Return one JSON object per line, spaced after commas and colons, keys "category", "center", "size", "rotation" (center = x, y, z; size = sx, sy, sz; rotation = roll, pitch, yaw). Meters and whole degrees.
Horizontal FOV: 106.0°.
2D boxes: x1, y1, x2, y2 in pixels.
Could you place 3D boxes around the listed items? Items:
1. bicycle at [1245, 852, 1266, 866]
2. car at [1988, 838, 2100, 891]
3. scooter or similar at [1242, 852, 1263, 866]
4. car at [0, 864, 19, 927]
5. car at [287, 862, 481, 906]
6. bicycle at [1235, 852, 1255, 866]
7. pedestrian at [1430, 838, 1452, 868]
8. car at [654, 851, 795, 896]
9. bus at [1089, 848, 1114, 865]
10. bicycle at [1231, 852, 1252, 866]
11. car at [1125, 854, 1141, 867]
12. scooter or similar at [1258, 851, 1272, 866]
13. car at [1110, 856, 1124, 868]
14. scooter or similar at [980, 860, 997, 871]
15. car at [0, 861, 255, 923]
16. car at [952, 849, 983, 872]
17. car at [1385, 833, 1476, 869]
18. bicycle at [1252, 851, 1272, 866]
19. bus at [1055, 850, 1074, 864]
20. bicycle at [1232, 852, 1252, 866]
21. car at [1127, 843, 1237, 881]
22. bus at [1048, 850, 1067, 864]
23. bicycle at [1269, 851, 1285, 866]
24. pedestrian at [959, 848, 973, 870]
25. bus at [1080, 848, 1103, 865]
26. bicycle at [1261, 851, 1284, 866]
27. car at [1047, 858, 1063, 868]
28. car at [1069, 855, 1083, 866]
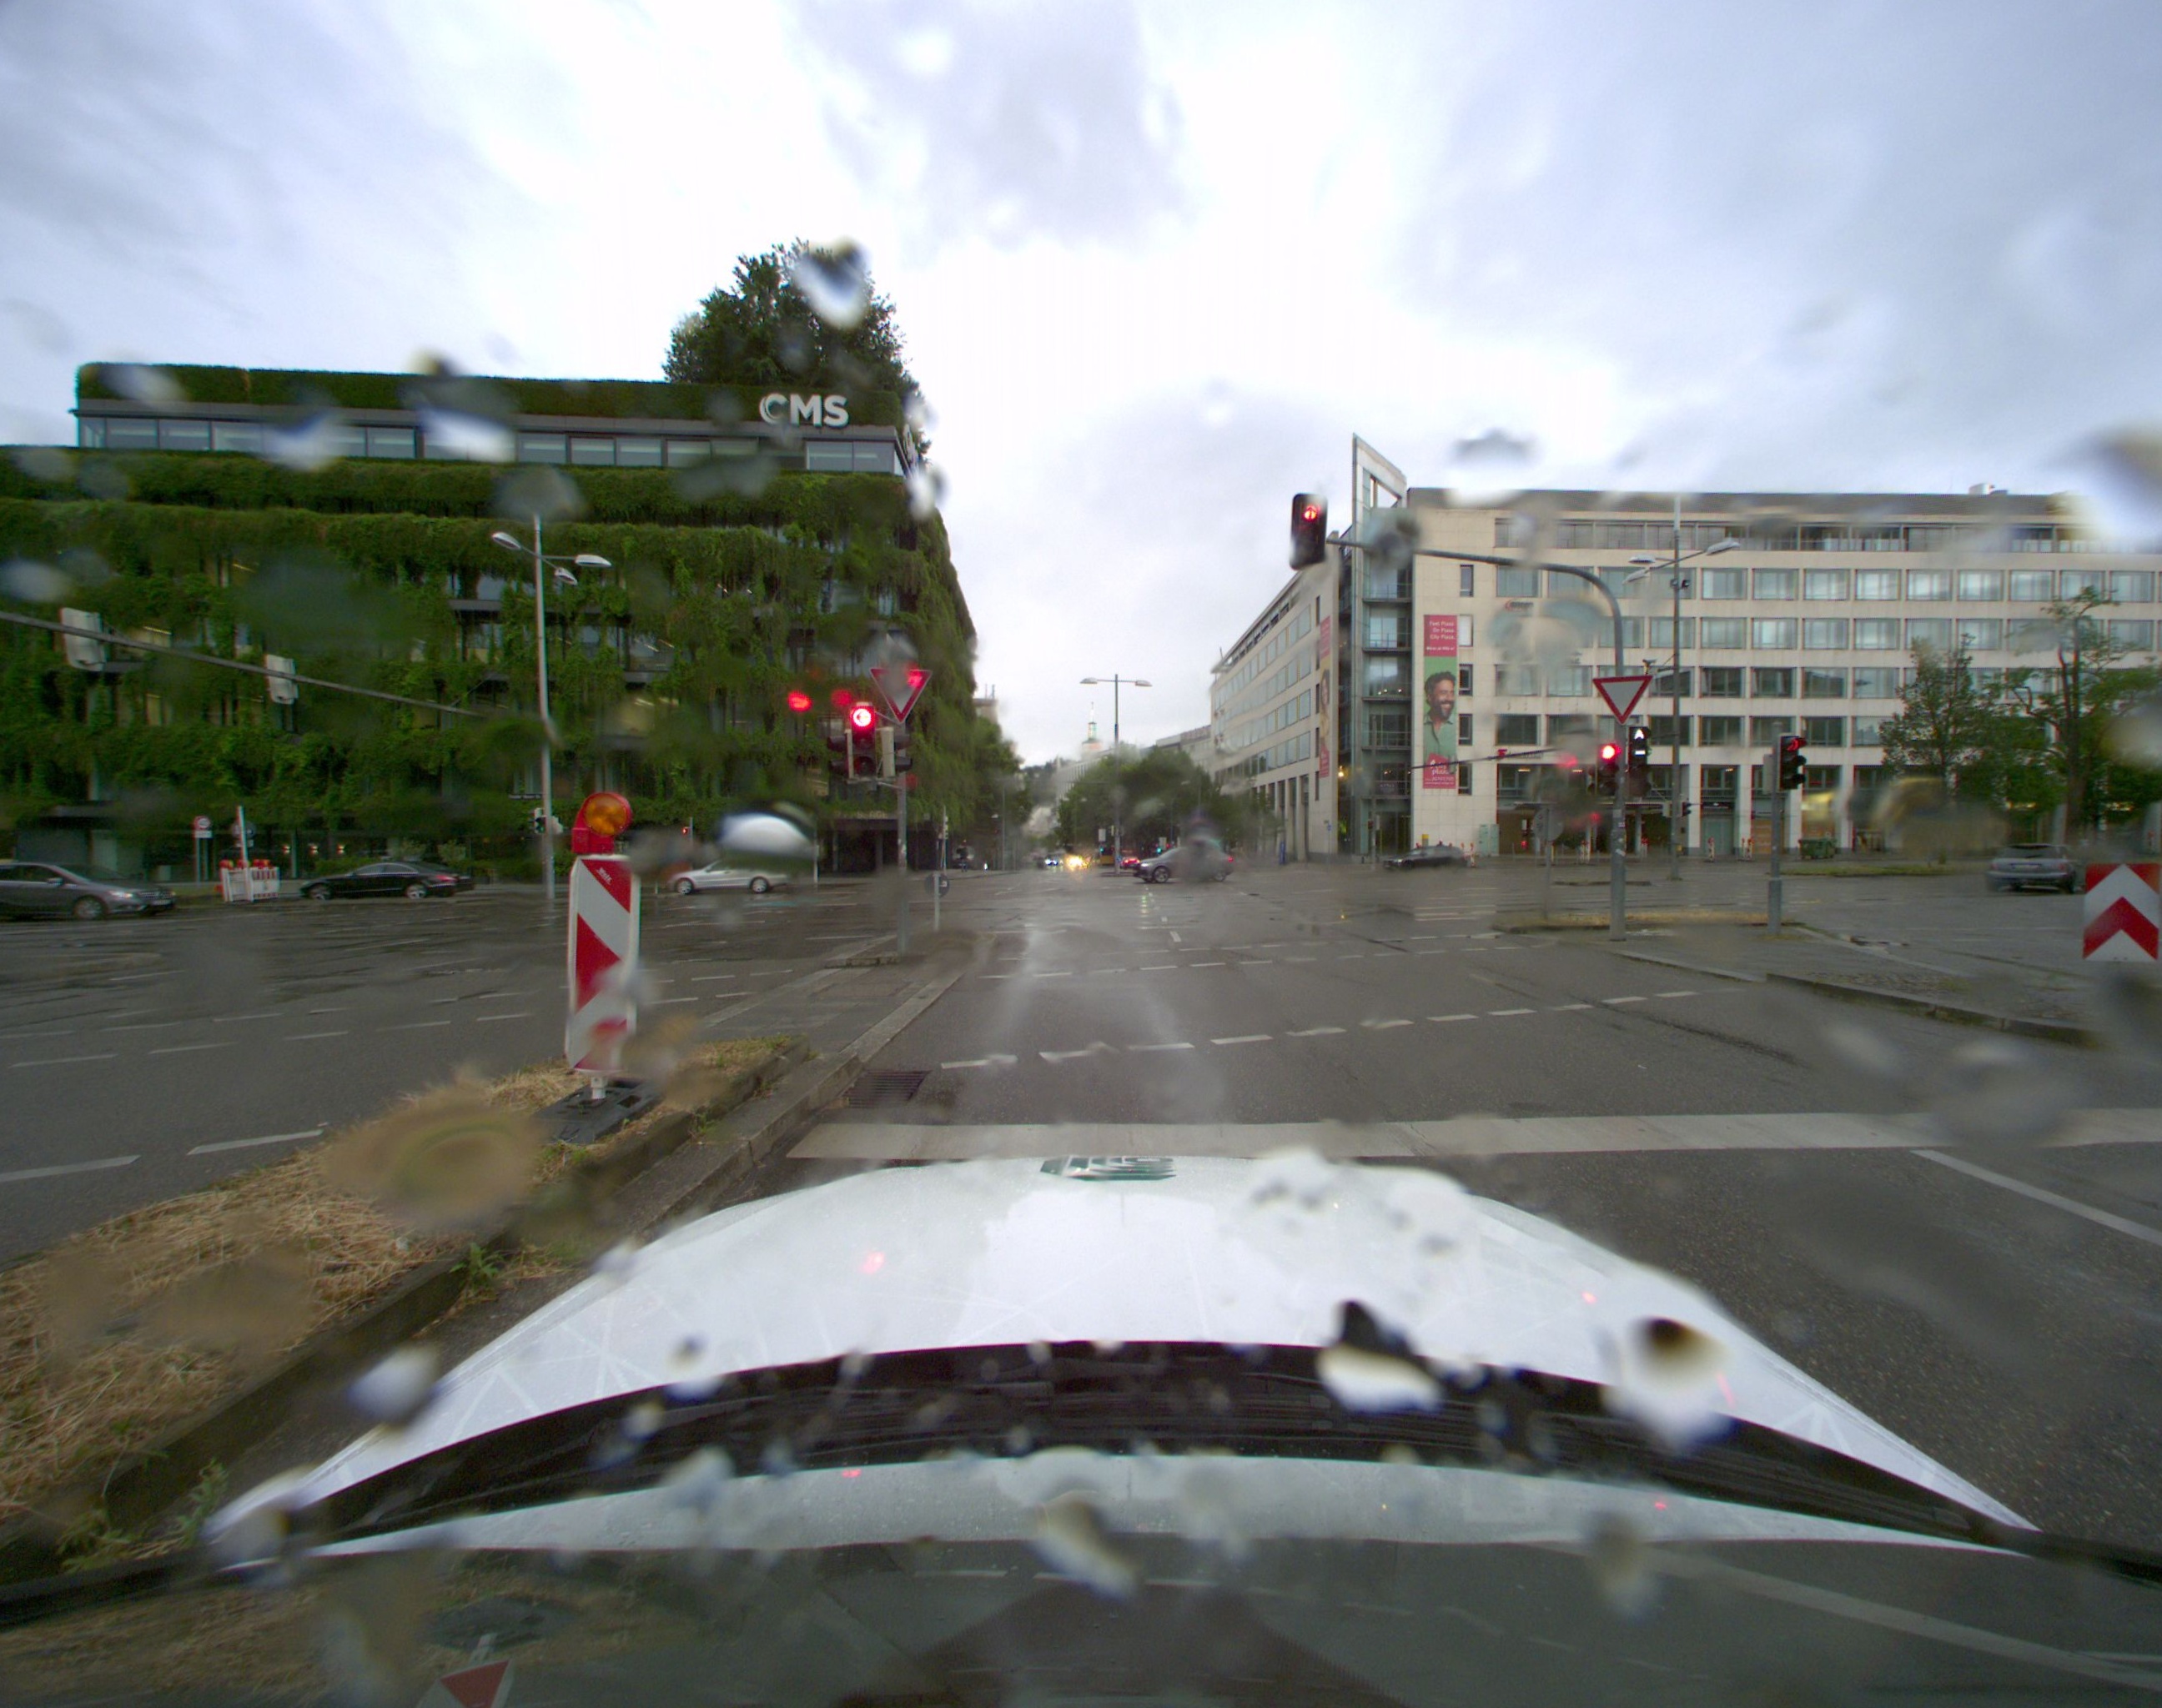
{"category": "bicycle", "center": [15.293, 0.422, 71.404], "size": [1.770, 1.194, 0.587], "rotation": [0, -1, 3]}
{"category": "car", "center": [28.545, 0.286, 24.116], "size": [3.736, 1.455, 1.726], "rotation": [0, -1, -34]}
{"category": "scooter or similar", "center": [14.913, 0.419, 70.790], "size": [1.770, 1.194, 0.587], "rotation": [0, -1, 3]}
{"category": "car", "center": [-27.335, 1.002, 18.301], "size": [3.981, 1.475, 1.996], "rotation": [-1, 0, -6]}
{"category": "car", "center": [-24.827, 1.064, 29.233], "size": [4.852, 1.477, 1.991], "rotation": [0, -2, -13]}
{"category": "bicycle", "center": [14.944, 0.446, 74.135], "size": [1.770, 1.194, 0.587], "rotation": [0, -1, 3]}
{"category": "pedestrian", "center": [21.789, -0.074, 49.241], "size": [0.958, 1.816, 0.837], "rotation": [0, -1, 1]}
{"category": "car", "center": [-13.824, 0.726, 31.869], "size": [4.724, 1.476, 1.992], "rotation": [-1, 3, -14]}
{"category": "bus", "center": [3.683, 0.385, 146.083], "size": [2.631, 2.995, 7.415], "rotation": [-1, 0, -13]}
{"category": "bicycle", "center": [14.302, 0.438, 72.597], "size": [1.770, 1.194, 0.587], "rotation": [0, -1, 3]}
{"category": "car", "center": [6.039, 0.793, 95.084], "size": [1.775, 1.508, 4.001], "rotation": [0, -1, 2]}
{"category": "scooter or similar", "center": [14.426, 0.368, 63.973], "size": [0.951, 1.194, 0.458], "rotation": [-1, -1, 42]}
{"category": "car", "center": [4.770, 1.050, 106.826], "size": [1.775, 1.508, 4.001], "rotation": [0, -1, 2]}
{"category": "scooter or similar", "center": [-9.423, 1.179, 82.941], "size": [0.616, 1.004, 1.671], "rotation": [-1, 0, 40]}
{"category": "car", "center": [-26.118, 0.984, 22.058], "size": [4.901, 1.488, 1.924], "rotation": [-1, 0, -15]}
{"category": "car", "center": [-9.553, 0.533, 68.728], "size": [1.863, 1.839, 4.001], "rotation": [0, -1, 2]}
{"category": "car", "center": [19.653, -0.163, 45.853], "size": [4.654, 2.014, 1.543], "rotation": [0, -1, -11]}
{"category": "bicycle", "center": [14.734, 0.384, 66.204], "size": [0.588, 1.194, 1.768], "rotation": [0, -1, -26]}
{"category": "bus", "center": [-3.540, 0.626, 173.568], "size": [2.631, 2.995, 7.294], "rotation": [-1, 0, -13]}
{"category": "bicycle", "center": [14.477, 0.442, 73.228], "size": [1.770, 1.194, 0.587], "rotation": [0, -1, 3]}
{"category": "car", "center": [4.421, 0.343, 35.851], "size": [4.480, 1.609, 1.823], "rotation": [0, -1, -14]}
{"category": "bus", "center": [-5.236, 0.648, 180.711], "size": [2.631, 2.995, 7.415], "rotation": [-1, 0, -13]}
{"category": "bicycle", "center": [16.057, 0.378, 66.730], "size": [0.579, 1.194, 1.794], "rotation": [-1, -1, 40]}
{"category": "pedestrian", "center": [-8.706, 0.398, 61.473], "size": [0.930, 1.644, 0.774], "rotation": [0, -1, 1]}
{"category": "bus", "center": [1.991, 0.425, 153.275], "size": [2.631, 2.995, 7.415], "rotation": [-1, 0, -13]}
{"category": "bicycle", "center": [15.207, 0.368, 64.639], "size": [1.607, 1.194, 0.590], "rotation": [-1, -1, 27]}
{"category": "car", "center": [-4.642, 1.581, 144.196], "size": [2.163, 1.765, 4.816], "rotation": [-2, 0, -9]}
{"category": "car", "center": [-0.811, 0.992, 126.791], "size": [2.158, 1.765, 5.109], "rotation": [0, 0, -1]}
